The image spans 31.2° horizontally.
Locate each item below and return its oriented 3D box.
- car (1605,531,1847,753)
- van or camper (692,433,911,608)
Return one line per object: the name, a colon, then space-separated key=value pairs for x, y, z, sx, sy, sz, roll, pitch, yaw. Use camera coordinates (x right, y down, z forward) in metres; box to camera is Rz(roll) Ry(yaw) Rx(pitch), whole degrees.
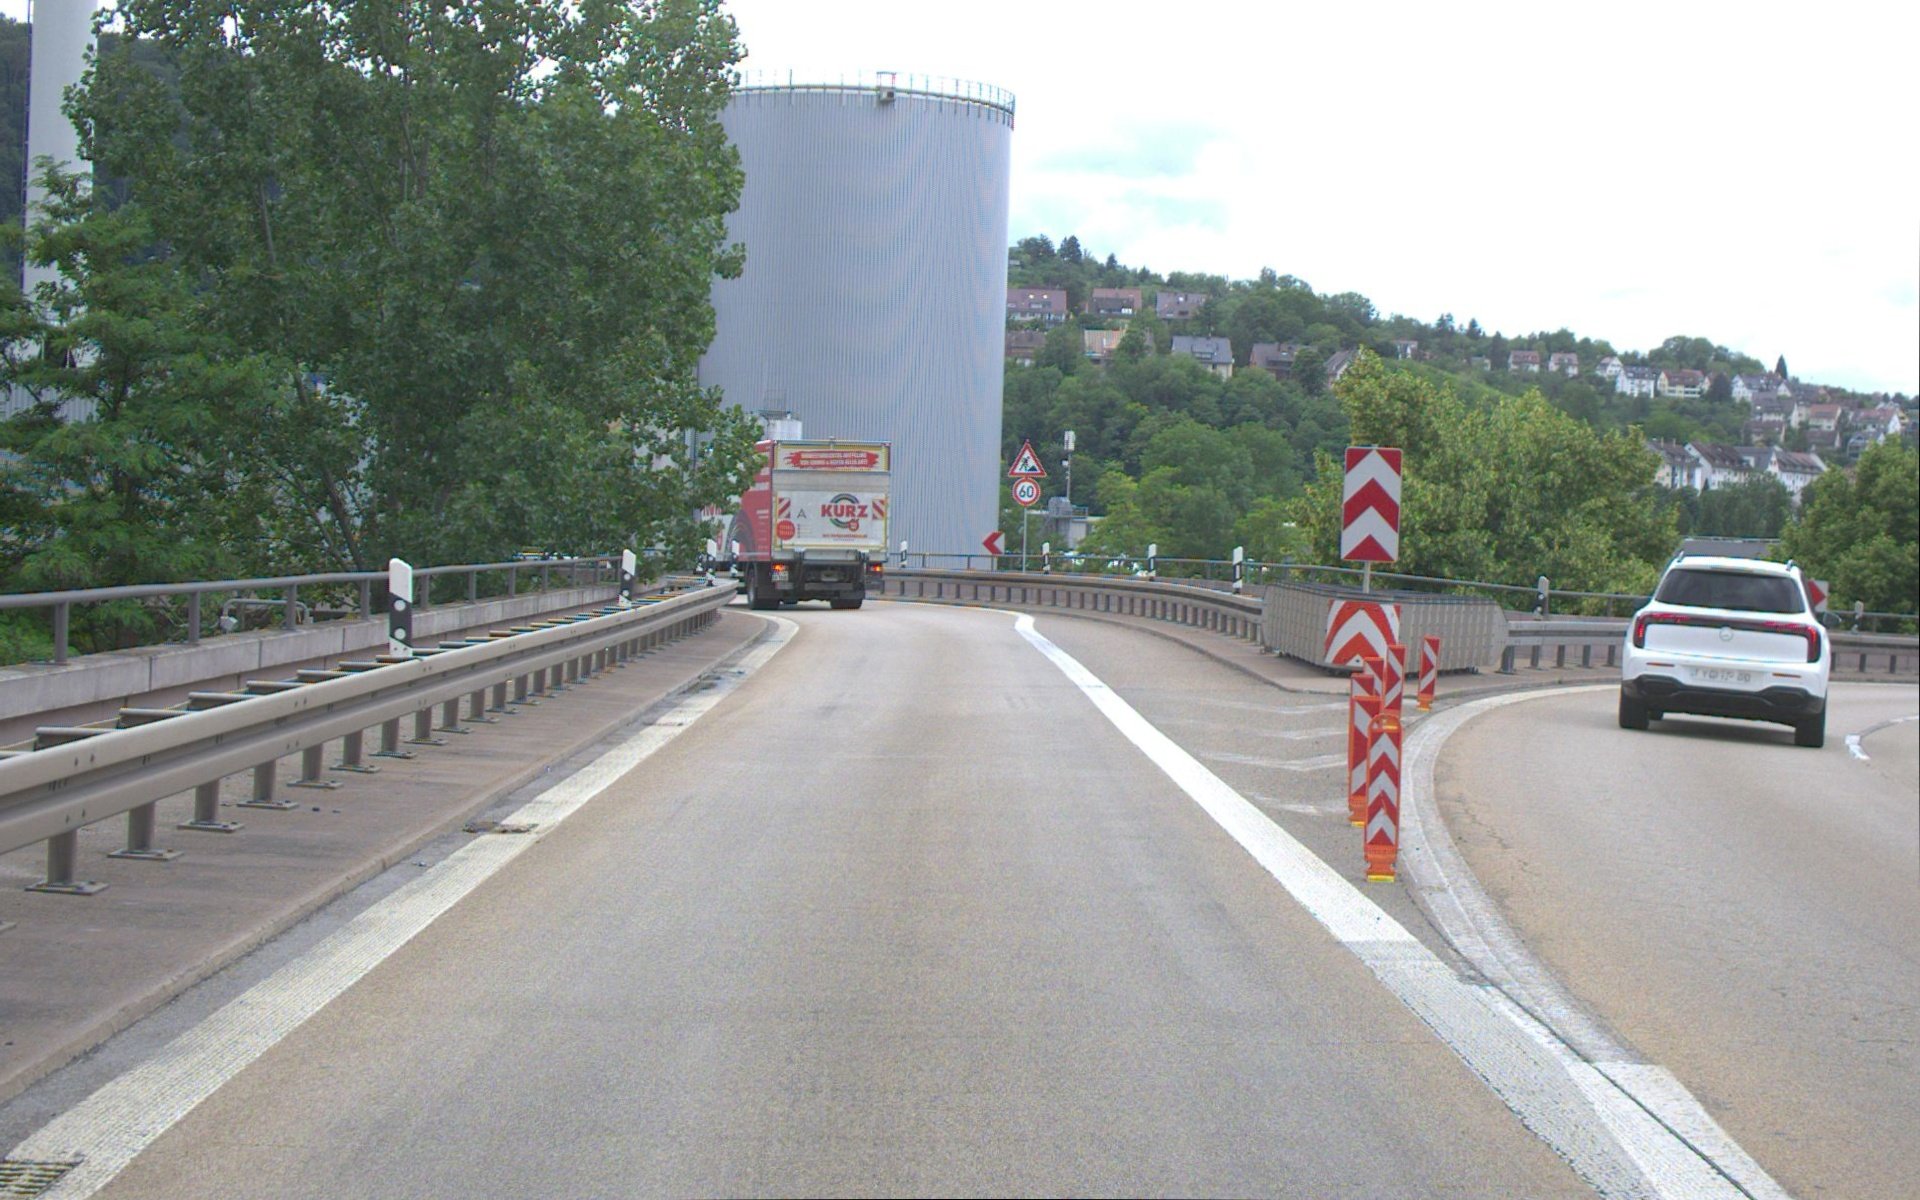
car: x=7.228 y=0.337 z=32.637 sx=1.925 sy=1.779 sz=4.111 roll=6 pitch=2 yaw=11
van or camper: x=-3.589 y=-1.709 z=75.239 sx=3.121 sy=3.567 sz=8.553 roll=1 pitch=1 yaw=-14
